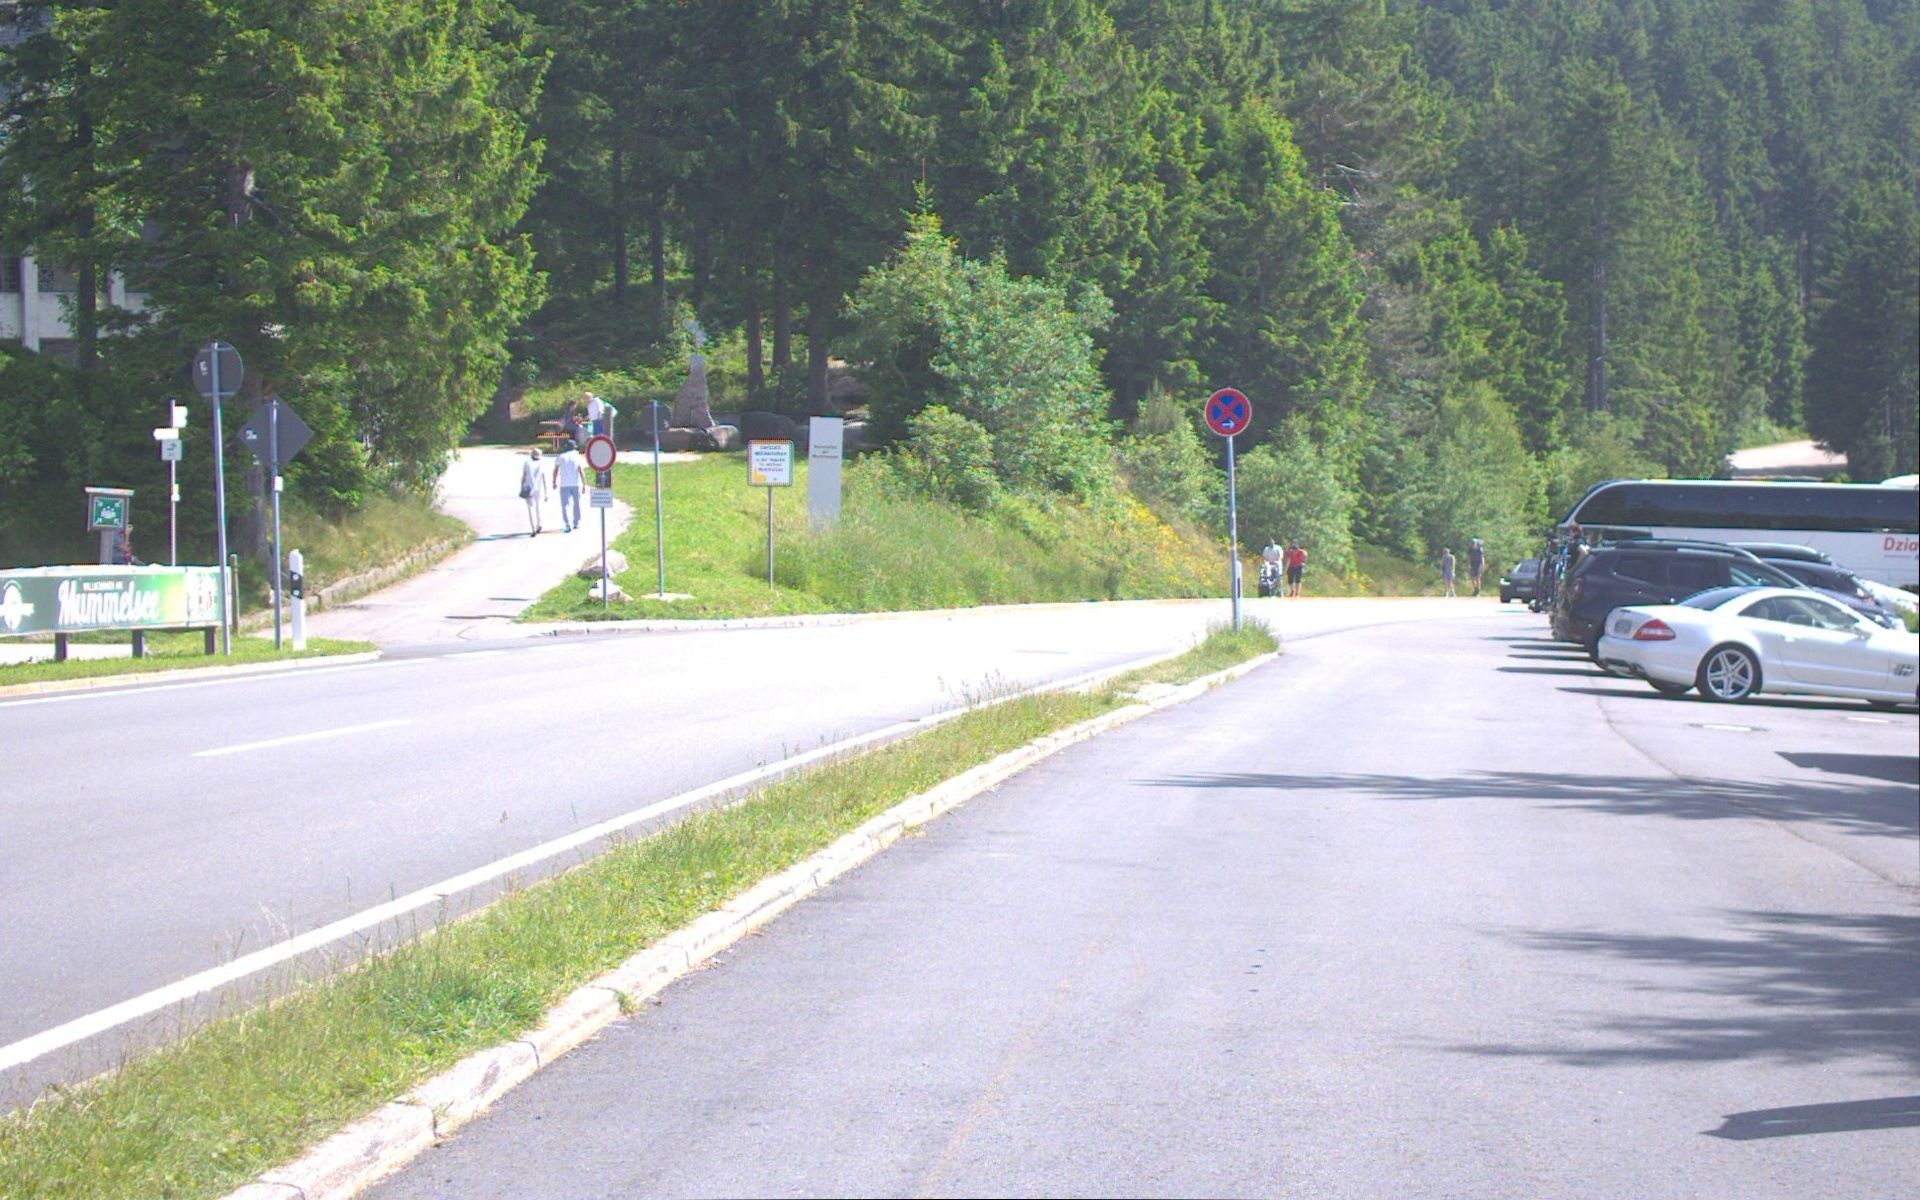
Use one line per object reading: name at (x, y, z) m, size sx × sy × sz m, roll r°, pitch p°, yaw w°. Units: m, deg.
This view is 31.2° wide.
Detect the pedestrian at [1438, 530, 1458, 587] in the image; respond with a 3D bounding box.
pedestrian at (16.553, -1.397, 116.552) m, size 0.622 × 1.893 × 0.655 m, roll -1°, pitch 0°, yaw 7°

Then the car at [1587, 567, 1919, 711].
car at (9.378, 0.463, 38.001) m, size 4.452 × 1.294 × 1.583 m, roll 4°, pitch 2°, yaw -9°

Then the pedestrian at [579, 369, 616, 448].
pedestrian at (-9.332, -4.938, 88.636) m, size 0.815 × 2.006 × 0.853 m, roll -2°, pitch 3°, yaw -1°

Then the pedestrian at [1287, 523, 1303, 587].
pedestrian at (9.208, -1.240, 94.453) m, size 0.395 × 1.741 × 0.406 m, roll -1°, pitch 3°, yaw 8°

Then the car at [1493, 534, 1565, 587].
car at (18.613, -1.295, 112.326) m, size 1.995 × 1.656 × 3.998 m, roll 0°, pitch 2°, yaw 14°

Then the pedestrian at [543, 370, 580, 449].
pedestrian at (-10.277, -4.917, 88.666) m, size 0.797 × 2.006 × 0.940 m, roll -2°, pitch 3°, yaw -1°

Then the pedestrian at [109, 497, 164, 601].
pedestrian at (-12.307, -0.760, 51.392) m, size 0.577 × 1.527 × 0.552 m, roll -1°, pitch 3°, yaw 7°

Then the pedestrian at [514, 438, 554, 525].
pedestrian at (-8.227, -2.282, 66.440) m, size 0.652 × 1.661 × 0.643 m, roll -1°, pitch 0°, yaw 1°

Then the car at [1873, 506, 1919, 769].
car at (8.200, 0.340, 25.768) m, size 1.906 × 1.965 × 4.818 m, roll 4°, pitch 2°, yaw 8°

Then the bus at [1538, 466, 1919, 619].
bus at (20.998, -1.477, 85.083) m, size 12.877 × 3.565 × 2.978 m, roll 1°, pitch 4°, yaw 24°

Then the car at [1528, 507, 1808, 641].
car at (10.807, -0.425, 52.732) m, size 3.988 × 1.713 × 1.867 m, roll 4°, pitch 3°, yaw 8°

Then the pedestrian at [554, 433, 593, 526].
pedestrian at (-7.553, -2.356, 67.153) m, size 0.652 × 1.793 × 0.643 m, roll -1°, pitch 1°, yaw 1°

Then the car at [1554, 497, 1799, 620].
car at (12.398, -0.743, 59.687) m, size 3.989 × 1.808 × 1.939 m, roll 4°, pitch 4°, yaw 10°

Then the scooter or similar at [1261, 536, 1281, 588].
scooter or similar at (8.532, -1.041, 94.241) m, size 0.483 × 1.375 × 0.817 m, roll -1°, pitch 3°, yaw 7°

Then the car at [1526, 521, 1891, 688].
car at (9.240, 0.034, 42.702) m, size 3.987 × 1.693 × 2.000 m, roll 4°, pitch 3°, yaw 0°

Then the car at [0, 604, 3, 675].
car at (-10.531, -0.021, 31.811) m, size 1.739 × 1.436 × 3.969 m, roll -4°, pitch 3°, yaw -39°

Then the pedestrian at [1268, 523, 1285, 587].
pedestrian at (8.738, -1.247, 94.861) m, size 0.415 × 1.741 × 0.457 m, roll -1°, pitch 3°, yaw 7°

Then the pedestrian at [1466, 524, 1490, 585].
pedestrian at (17.449, -1.526, 115.735) m, size 0.733 × 2.007 × 0.862 m, roll -1°, pitch 0°, yaw 7°
